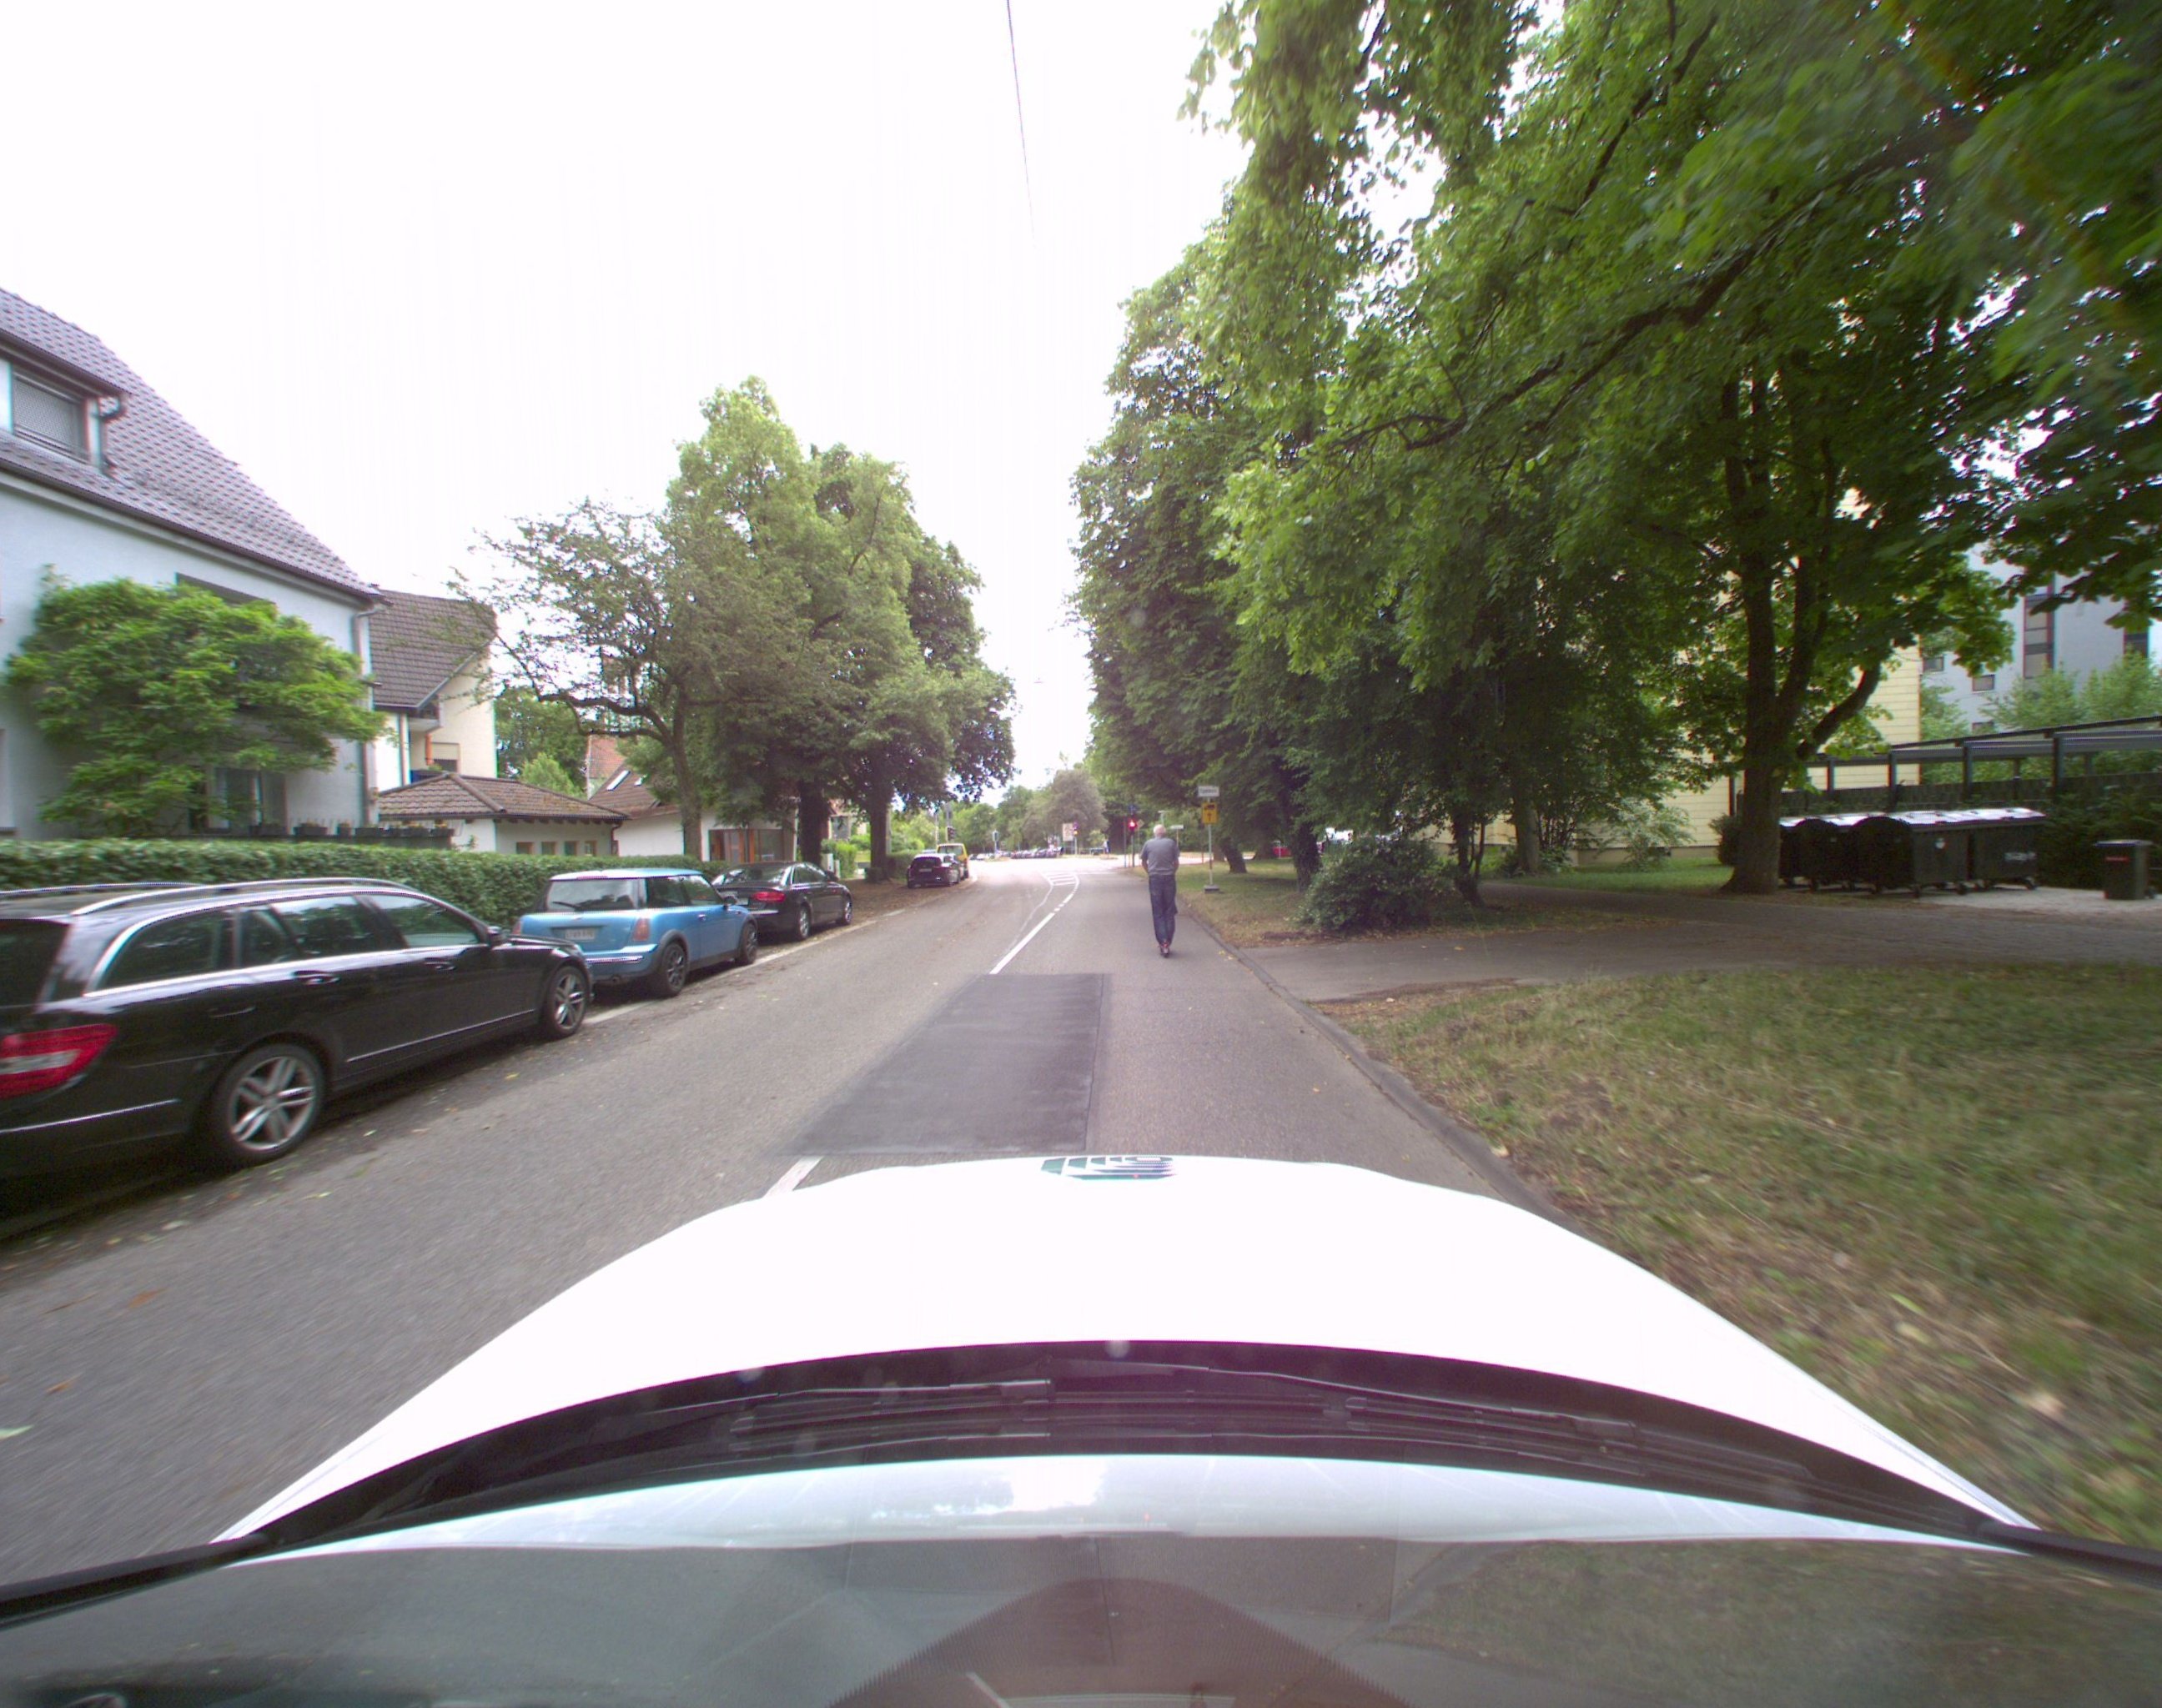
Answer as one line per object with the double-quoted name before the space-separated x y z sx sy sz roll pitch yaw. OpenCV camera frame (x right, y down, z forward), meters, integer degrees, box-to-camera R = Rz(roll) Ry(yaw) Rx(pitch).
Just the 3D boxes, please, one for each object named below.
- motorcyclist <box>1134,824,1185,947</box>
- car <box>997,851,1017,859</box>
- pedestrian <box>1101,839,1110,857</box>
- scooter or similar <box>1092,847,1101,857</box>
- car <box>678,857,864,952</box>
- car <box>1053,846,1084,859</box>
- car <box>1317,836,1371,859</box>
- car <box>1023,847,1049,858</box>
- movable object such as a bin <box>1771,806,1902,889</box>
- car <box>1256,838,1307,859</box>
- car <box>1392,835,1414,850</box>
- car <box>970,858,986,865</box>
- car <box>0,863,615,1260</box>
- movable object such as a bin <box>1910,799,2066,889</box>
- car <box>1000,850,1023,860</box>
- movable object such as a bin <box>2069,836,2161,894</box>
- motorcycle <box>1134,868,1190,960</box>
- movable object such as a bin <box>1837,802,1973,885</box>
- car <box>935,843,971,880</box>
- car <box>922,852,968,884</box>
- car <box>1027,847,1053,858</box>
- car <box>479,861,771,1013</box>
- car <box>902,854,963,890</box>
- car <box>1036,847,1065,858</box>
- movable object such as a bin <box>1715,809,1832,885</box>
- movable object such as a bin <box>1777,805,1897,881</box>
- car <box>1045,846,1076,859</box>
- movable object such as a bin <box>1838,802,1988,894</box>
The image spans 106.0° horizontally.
"motorcyclist" 1.142 0.446 11.997 0.671 1.761 0.638 -1 0 -1
"car" -14.943 0.180 164.318 3.980 1.510 1.797 -3 0 -5
"pedestrian" 2.493 -0.613 84.167 0.726 1.761 0.665 -2 0 17
"scooter or similar" 1.607 -0.220 84.437 0.704 1.049 0.791 -2 0 17
"car" -5.697 0.840 15.652 1.789 1.410 4.643 -3 1 -1
"car" -1.668 -0.209 106.934 3.980 1.510 1.797 -3 0 -5
"car" 21.237 -0.515 65.692 3.952 1.726 1.811 0 4 23
"car" -7.191 -0.191 129.703 3.980 1.510 1.797 -3 0 -5
"movable object such as a bin" 14.802 -0.137 16.007 1.324 1.501 1.312 -3 0 -5
"car" 16.443 -0.457 66.933 3.962 1.557 1.806 -1 4 10
"car" 35.343 -1.264 89.487 2.065 1.510 4.021 -2 0 21
"car" -27.447 1.944 216.524 3.980 1.510 1.797 -3 0 -5
"car" -5.130 0.875 5.333 1.791 1.472 4.411 -3 1 -4
"movable object such as a bin" 16.332 -0.181 14.713 1.324 1.501 1.312 -3 0 -5
"car" -12.257 0.156 143.888 3.980 1.510 1.797 -3 0 -5
"movable object such as a bin" 16.425 0.169 12.949 0.597 0.878 0.668 -3 0 -5
"motorcycle" 1.150 0.832 11.811 0.671 1.217 1.273 -1 0 -1
"movable object such as a bin" 16.260 -0.208 16.117 1.324 1.501 1.312 -3 0 -5
"car" -7.330 0.420 46.947 1.856 1.964 4.493 -3 0 -7
"car" -6.848 0.673 41.322 1.790 1.415 4.185 -3 1 -3
"car" -6.398 -0.223 127.840 3.980 1.510 1.797 -3 0 -5
"car" -5.317 0.851 10.106 1.661 1.391 3.701 -3 1 -4
"car" -6.490 0.750 36.122 1.887 1.410 4.551 -3 0 -1
"car" -4.433 -0.215 117.208 3.980 1.510 1.797 -3 0 -5
"movable object such as a bin" 14.718 -0.151 17.354 1.324 1.501 1.312 -3 0 -5
"movable object such as a bin" 16.192 -0.238 17.485 1.324 1.501 1.312 -3 0 -5
"car" -2.773 -0.221 110.442 3.980 1.510 1.797 -3 0 -5
"movable object such as a bin" 14.908 -0.112 14.646 1.324 1.501 1.312 -3 0 -5
